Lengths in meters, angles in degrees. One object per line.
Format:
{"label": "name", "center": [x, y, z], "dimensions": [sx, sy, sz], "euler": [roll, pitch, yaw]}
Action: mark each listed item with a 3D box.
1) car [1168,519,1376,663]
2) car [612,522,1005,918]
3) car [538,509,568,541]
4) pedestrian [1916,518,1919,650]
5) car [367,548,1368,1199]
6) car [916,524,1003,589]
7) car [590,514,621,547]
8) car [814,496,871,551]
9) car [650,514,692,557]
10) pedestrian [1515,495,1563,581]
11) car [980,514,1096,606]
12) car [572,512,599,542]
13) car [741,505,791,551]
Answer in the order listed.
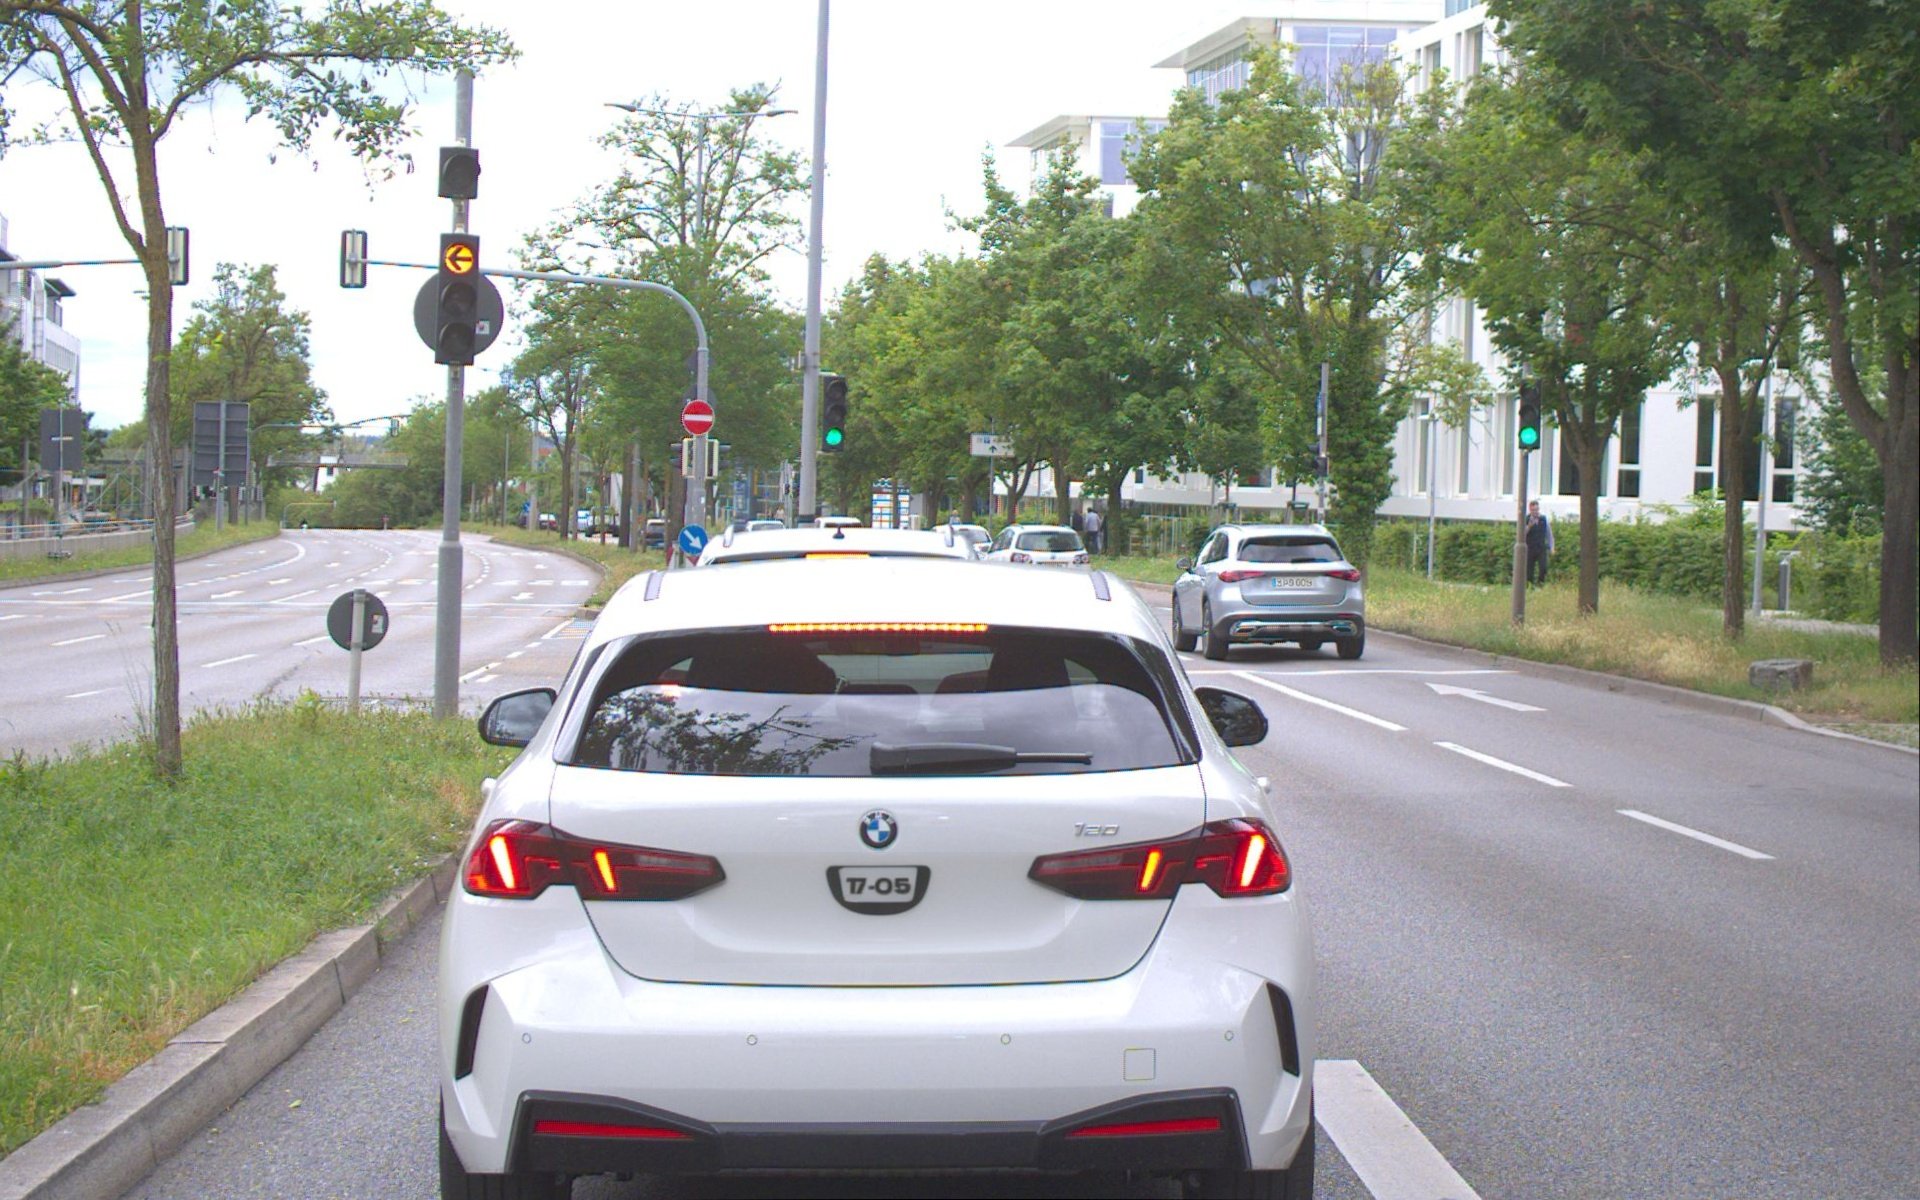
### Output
{"label": "car", "center": [3.756, -0.139, 42.036], "dimensions": [1.993, 1.664, 4.001], "euler": [0, 1, -3]}
{"label": "car", "center": [-0.633, 0.448, 15.869], "dimensions": [1.549, 1.563, 4.000], "euler": [1, 1, -1]}
{"label": "car", "center": [-26.273, -4.821, 222.098], "dimensions": [1.837, 2.007, 4.001], "euler": [1, 1, -6]}
{"label": "pedestrian", "center": [10.953, -0.167, 37.326], "dimensions": [0.789, 1.443, 1.112], "euler": [1, 0, -1]}
{"label": "car", "center": [-0.196, 0.619, 8.351], "dimensions": [1.822, 1.433, 4.000], "euler": [1, 1, -1]}
{"label": "car", "center": [-0.030, -1.064, 82.865], "dimensions": [1.692, 1.481, 3.694], "euler": [1, 1, -6]}
{"label": "car", "center": [-22.298, -4.348, 216.226], "dimensions": [1.837, 2.007, 4.001], "euler": [1, 1, -6]}
{"label": "car", "center": [-3.695, -2.400, 107.697], "dimensions": [1.601, 1.661, 4.001], "euler": [1, 1, -4]}
{"label": "car", "center": [-11.627, -2.596, 138.239], "dimensions": [1.601, 1.661, 4.001], "euler": [1, 1, -4]}
{"label": "pedestrian", "center": [10.741, -1.143, 63.798], "dimensions": [0.741, 1.568, 0.674], "euler": [1, 0, -1]}
{"label": "car", "center": [1.507, -0.808, 67.599], "dimensions": [1.695, 1.711, 4.001], "euler": [1, 1, -7]}
{"label": "car", "center": [-26.563, -5.177, 243.992], "dimensions": [1.837, 2.007, 4.001], "euler": [1, 1, -6]}
{"label": "car", "center": [-7.239, -2.680, 128.114], "dimensions": [1.738, 1.661, 4.001], "euler": [1, 1, -4]}
